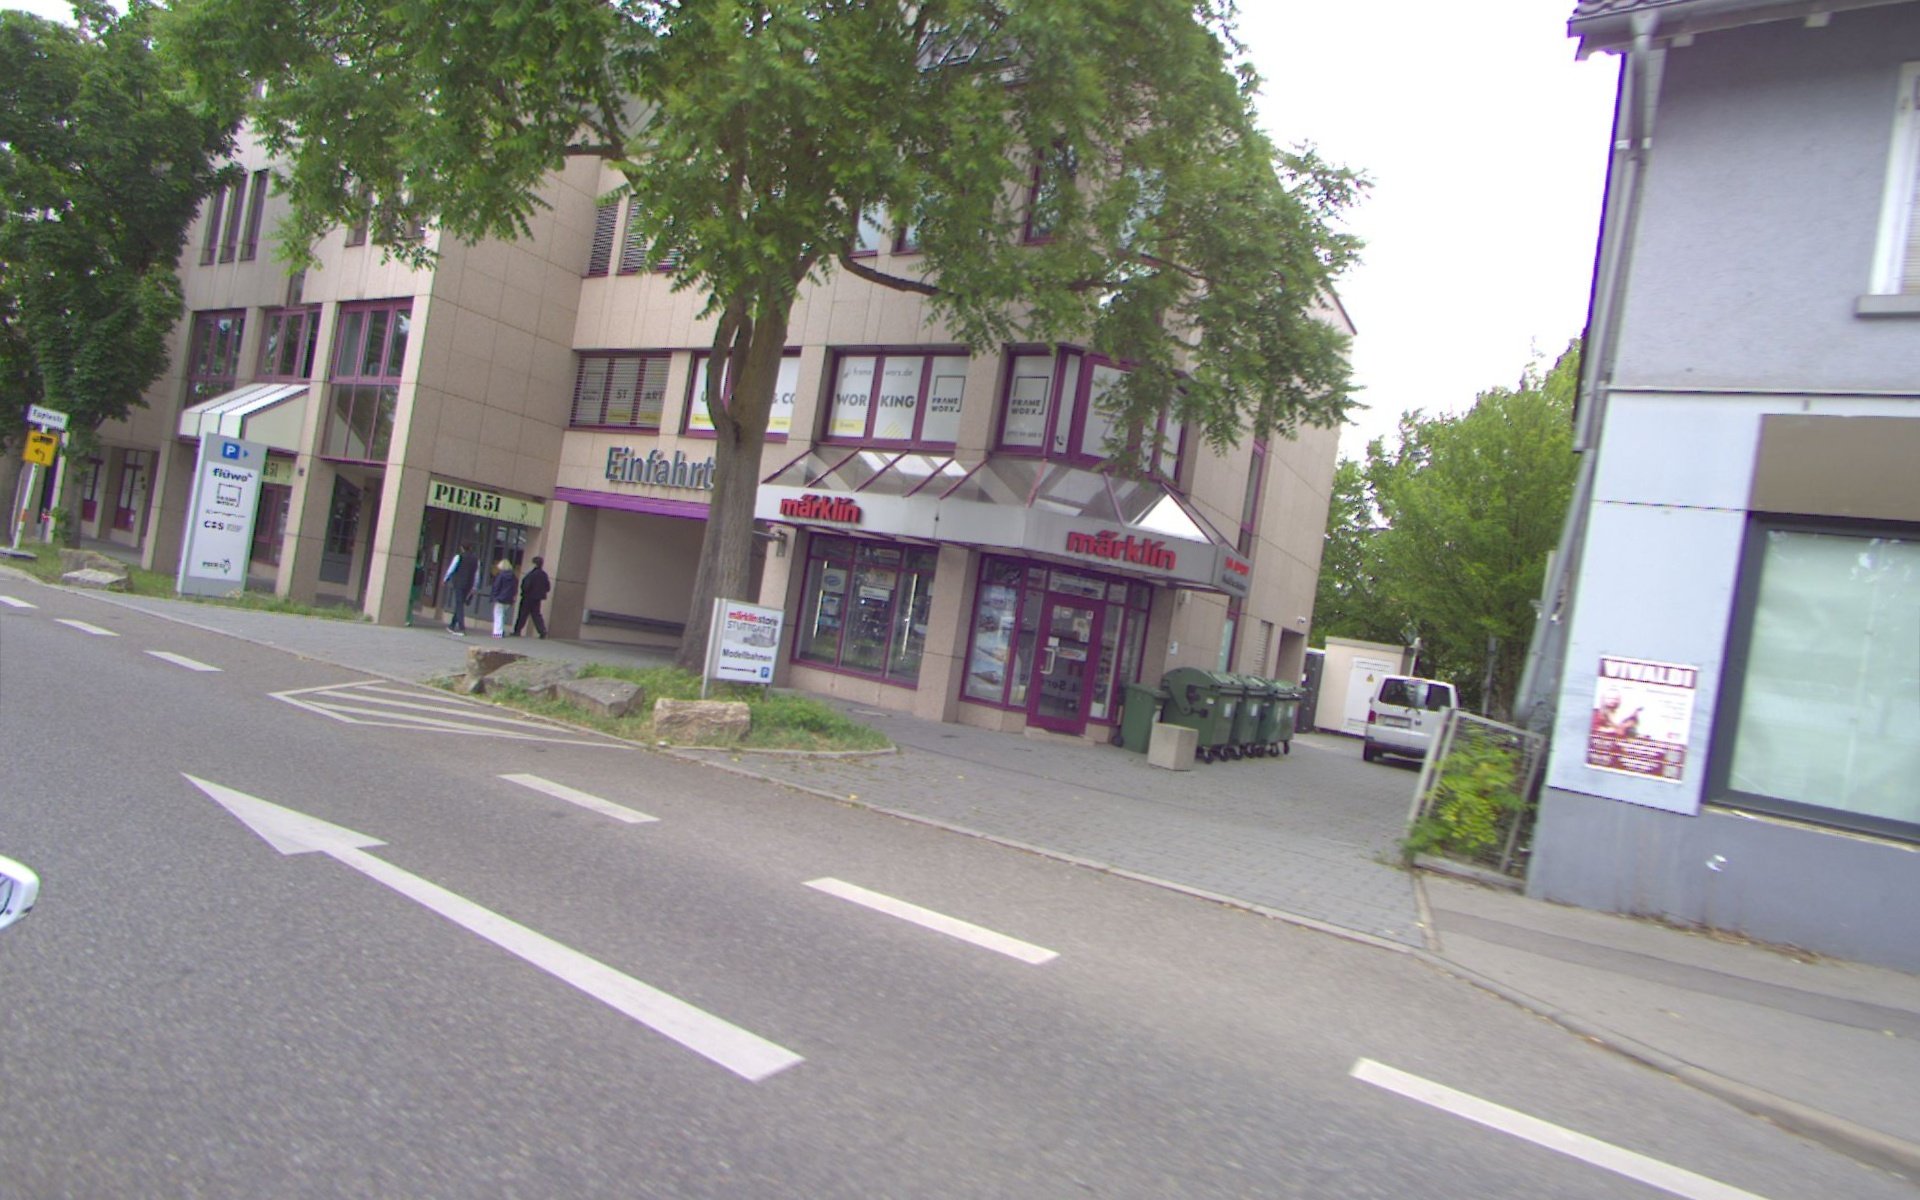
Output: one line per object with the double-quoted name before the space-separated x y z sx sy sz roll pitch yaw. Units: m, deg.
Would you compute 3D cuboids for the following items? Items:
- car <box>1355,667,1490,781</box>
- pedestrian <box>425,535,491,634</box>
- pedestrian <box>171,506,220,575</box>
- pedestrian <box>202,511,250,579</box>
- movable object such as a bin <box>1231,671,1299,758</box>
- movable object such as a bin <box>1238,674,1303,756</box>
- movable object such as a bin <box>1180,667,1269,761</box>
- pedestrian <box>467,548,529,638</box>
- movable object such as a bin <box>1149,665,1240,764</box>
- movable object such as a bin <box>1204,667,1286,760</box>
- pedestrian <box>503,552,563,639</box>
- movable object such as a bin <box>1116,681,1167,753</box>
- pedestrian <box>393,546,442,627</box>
"car" 10.601 2.785 22.878 2.083 2.037 4.280 7 -2 32
"pedestrian" -9.923 -0.303 19.884 0.829 1.849 0.658 7 1 33
"pedestrian" -20.763 -1.620 27.321 0.954 1.725 0.595 7 -1 34
"pedestrian" -20.375 -1.524 27.925 0.954 1.725 0.595 7 -1 34
"movable object such as a bin" 5.844 2.184 19.247 0.862 1.491 0.973 7 -1 31
"movable object such as a bin" 6.238 2.301 20.205 0.862 1.491 0.973 7 -1 31
"movable object such as a bin" 4.620 1.977 17.534 1.131 1.430 0.908 7 -1 31
"pedestrian" -9.424 -0.142 20.523 0.829 1.712 0.658 7 1 33
"movable object such as a bin" 3.874 1.869 16.591 1.068 1.430 0.886 7 -1 31
"movable object such as a bin" 5.199 2.052 18.349 1.043 1.490 0.909 8 0 31
"pedestrian" -8.978 -0.091 21.153 0.829 1.712 0.658 7 1 33
"movable object such as a bin" 2.929 1.884 16.245 0.551 1.079 0.489 7 -1 31
"pedestrian" -11.148 -0.276 20.666 0.535 1.569 0.561 7 1 33
